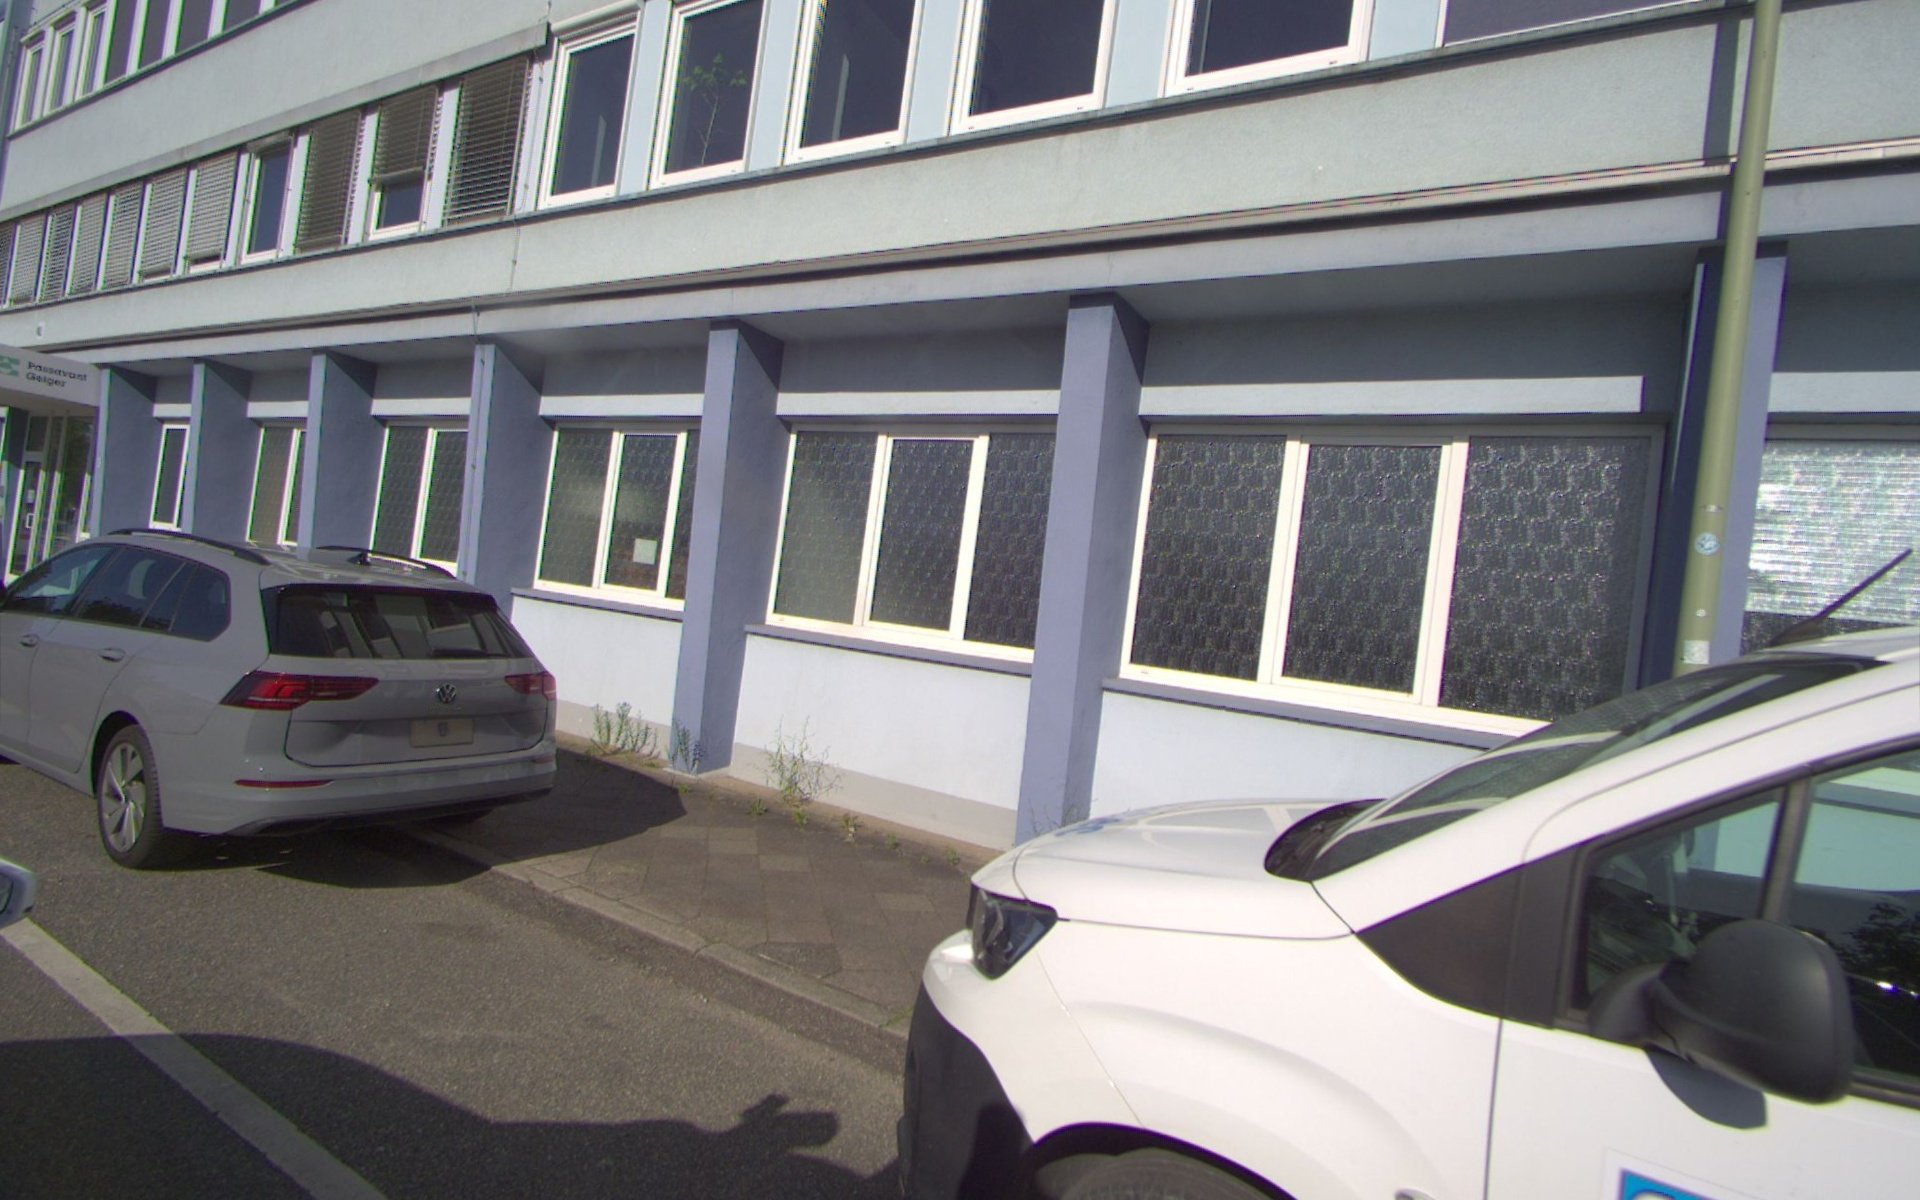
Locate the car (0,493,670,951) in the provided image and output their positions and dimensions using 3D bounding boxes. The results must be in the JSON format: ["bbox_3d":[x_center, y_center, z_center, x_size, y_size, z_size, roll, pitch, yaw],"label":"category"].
[{"bbox_3d":[-4.245,0.373,5.810,5.005,1.578,1.894,6,-3,31],"label":"car"}]

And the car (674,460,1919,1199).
[{"bbox_3d":[2.051,0.946,1.610,5.008,1.852,1.893,6,-3,33],"label":"car"}]
